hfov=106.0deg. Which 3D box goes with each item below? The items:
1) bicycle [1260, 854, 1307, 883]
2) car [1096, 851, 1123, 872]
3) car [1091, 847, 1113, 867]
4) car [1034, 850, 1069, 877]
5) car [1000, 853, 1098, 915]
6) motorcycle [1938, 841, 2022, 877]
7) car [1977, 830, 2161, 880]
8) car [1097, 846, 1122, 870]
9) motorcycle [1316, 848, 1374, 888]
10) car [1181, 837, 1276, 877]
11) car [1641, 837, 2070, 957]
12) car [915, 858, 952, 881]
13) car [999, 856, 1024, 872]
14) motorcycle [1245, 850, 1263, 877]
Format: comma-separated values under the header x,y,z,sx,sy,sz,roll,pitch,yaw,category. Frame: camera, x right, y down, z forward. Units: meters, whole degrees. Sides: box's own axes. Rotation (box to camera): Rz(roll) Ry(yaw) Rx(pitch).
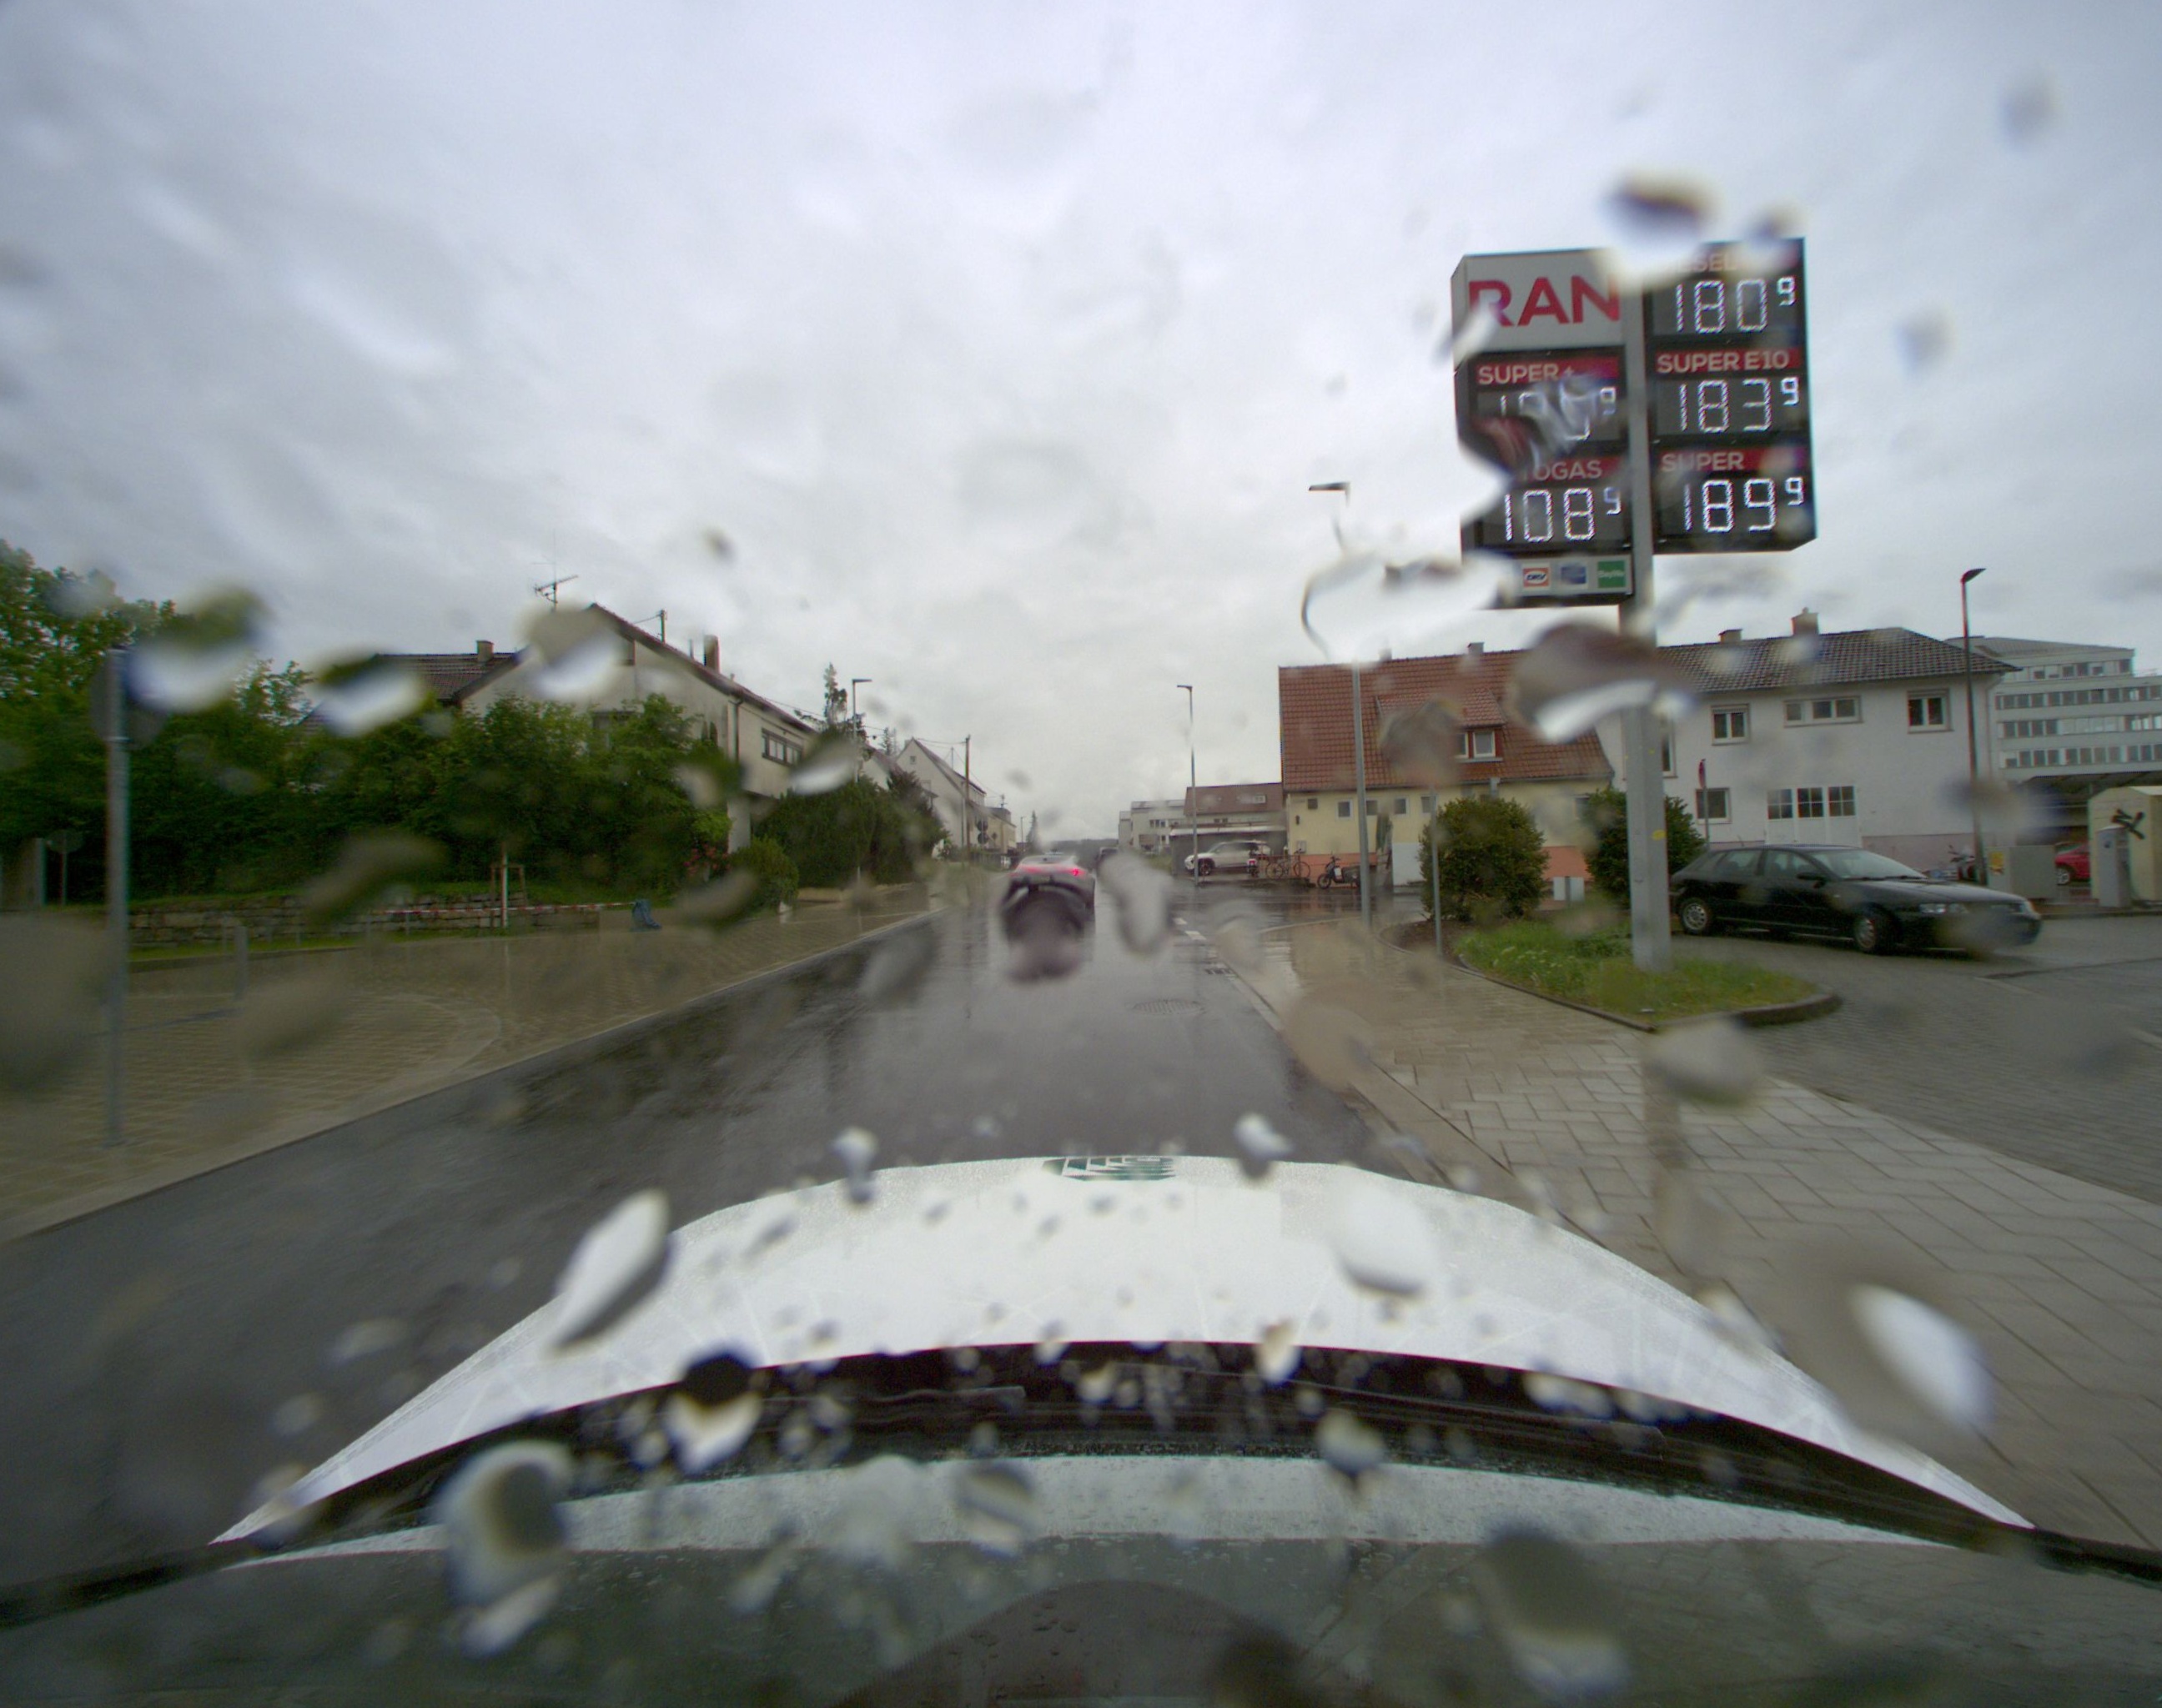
x,y,z,sx,sy,sz,roll,pitch,yaw,category
7.980,0.565,32.089,1.757,1.096,0.491,-1,0,15,bicycle
1.913,0.518,55.698,1.762,1.336,4.321,-1,-1,1,car
1.736,0.278,69.010,1.638,1.575,4.640,-1,-1,-1,car
-1.805,0.578,50.485,1.922,1.539,4.321,-1,-1,1,car
-0.766,0.777,22.705,1.983,1.502,4.678,-2,-1,7,car
29.921,0.172,27.120,2.022,1.151,0.490,-1,-1,7,motorcycle
31.352,0.024,25.401,4.219,1.376,2.006,-2,0,10,car
2.164,0.320,62.595,1.762,1.825,4.575,-1,-1,1,car
9.828,0.522,30.395,2.018,1.456,0.491,-1,-1,13,motorcycle
7.107,0.164,39.556,4.204,1.610,1.860,-4,-1,-1,car
10.548,0.519,11.652,1.688,1.339,4.327,-1,-1,-8,car
-10.105,1.070,56.095,1.772,1.467,3.458,-1,-2,2,car
-7.167,1.019,84.518,1.986,1.510,4.896,1,-1,1,car
7.186,0.381,33.947,0.485,1.096,2.003,-1,0,5,motorcycle
